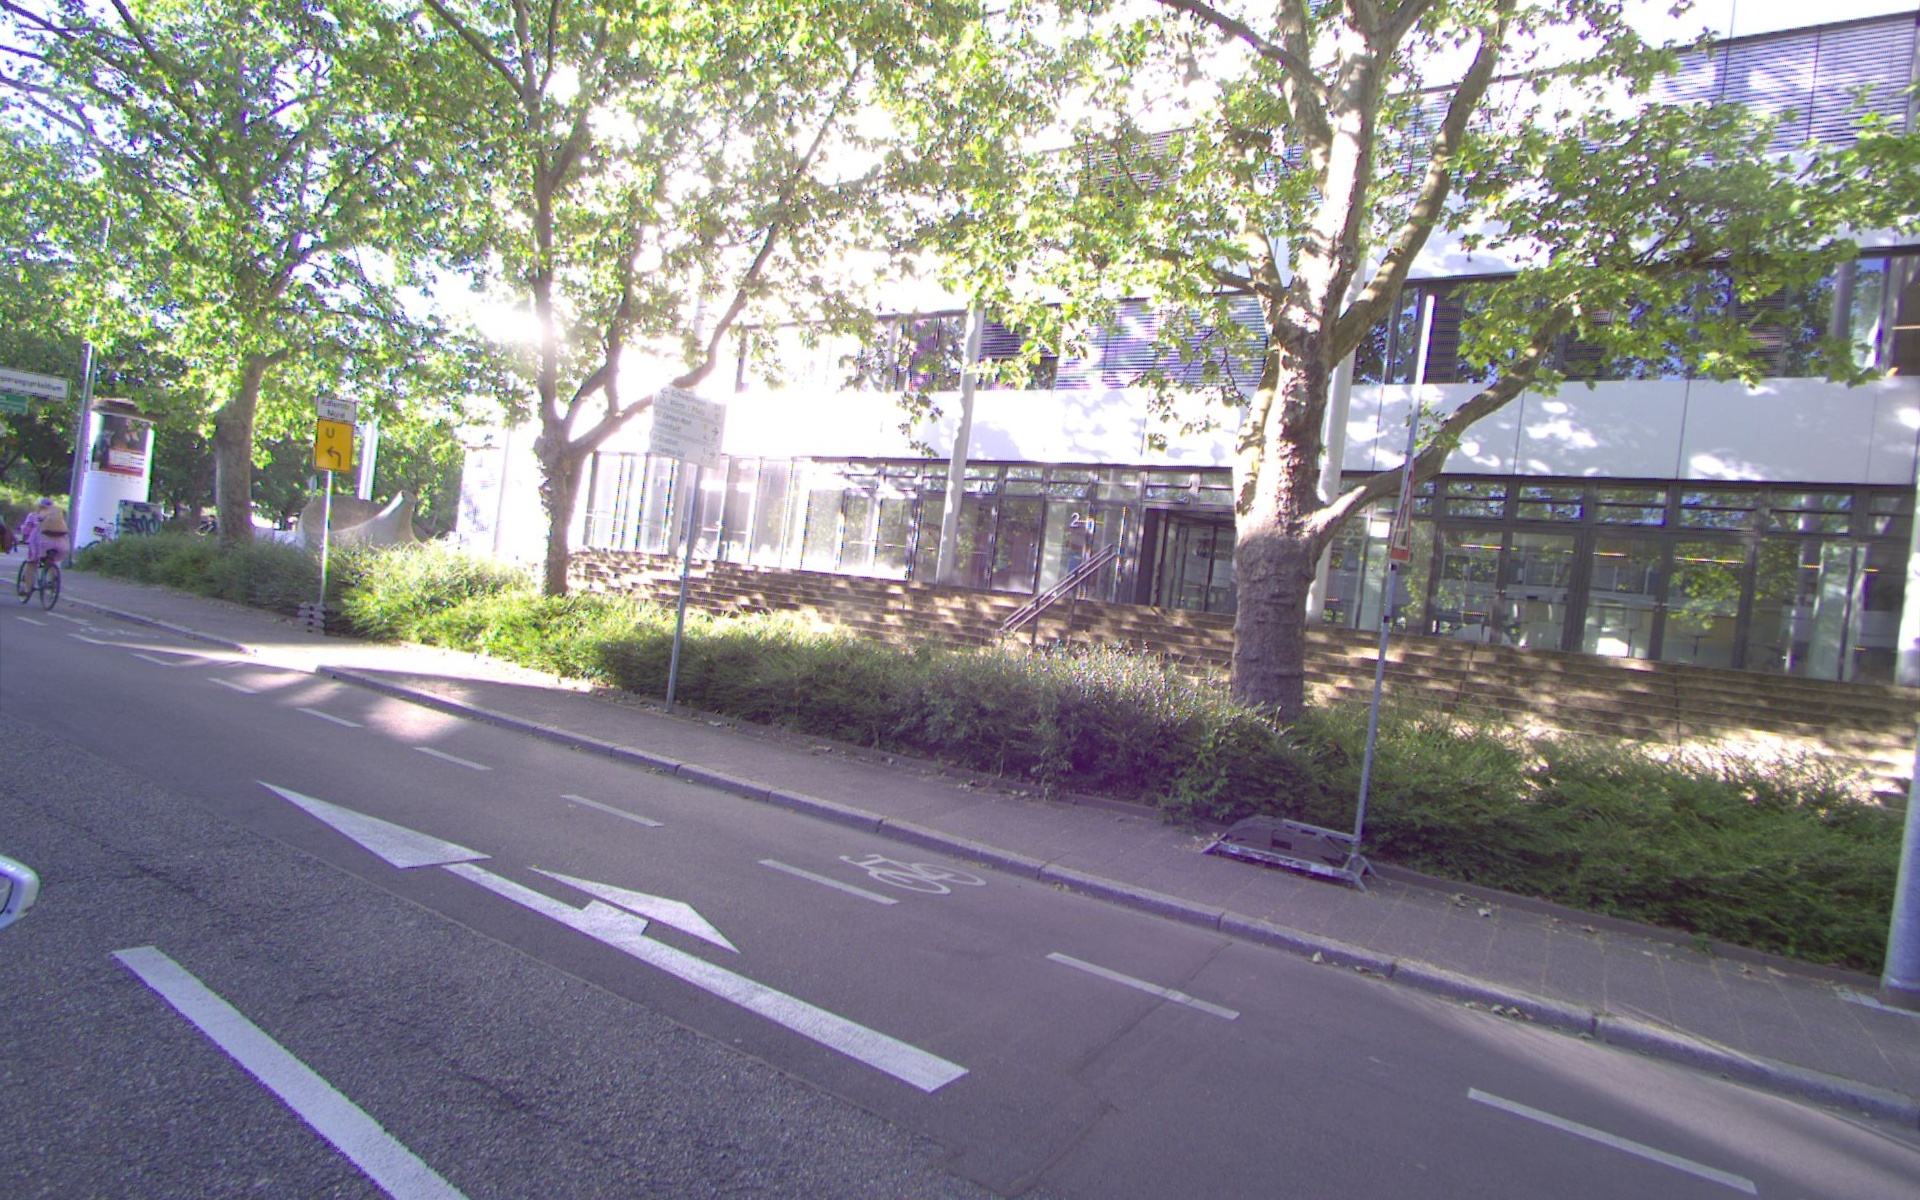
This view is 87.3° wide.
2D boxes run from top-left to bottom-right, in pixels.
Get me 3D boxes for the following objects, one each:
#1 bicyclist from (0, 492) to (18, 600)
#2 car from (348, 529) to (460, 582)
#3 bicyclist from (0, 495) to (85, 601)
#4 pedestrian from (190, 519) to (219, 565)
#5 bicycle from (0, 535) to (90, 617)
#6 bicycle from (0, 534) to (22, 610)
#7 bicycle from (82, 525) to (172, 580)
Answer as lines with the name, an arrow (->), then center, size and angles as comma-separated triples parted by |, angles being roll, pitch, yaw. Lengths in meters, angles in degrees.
bicyclist -> -14.201, -0.841, 14.447 | 0.875, 1.533, 0.611 | 7, -2, 32
car -> -25.870, -2.041, 46.885 | 1.969, 1.805, 3.998 | 7, -1, 37
bicyclist -> -13.538, -0.761, 14.808 | 0.915, 1.417, 0.602 | 7, -2, 32
pedestrian -> -31.482, -2.417, 41.920 | 0.620, 1.805, 0.620 | 7, 0, 34
bicycle -> -13.648, -0.369, 14.839 | 1.850, 0.996, 0.602 | 7, -2, 32
bicycle -> -14.251, -0.489, 14.445 | 1.702, 1.038, 0.611 | 7, -2, 32
bicycle -> -19.091, -1.085, 23.092 | 0.529, 1.049, 1.418 | 7, -1, 28
